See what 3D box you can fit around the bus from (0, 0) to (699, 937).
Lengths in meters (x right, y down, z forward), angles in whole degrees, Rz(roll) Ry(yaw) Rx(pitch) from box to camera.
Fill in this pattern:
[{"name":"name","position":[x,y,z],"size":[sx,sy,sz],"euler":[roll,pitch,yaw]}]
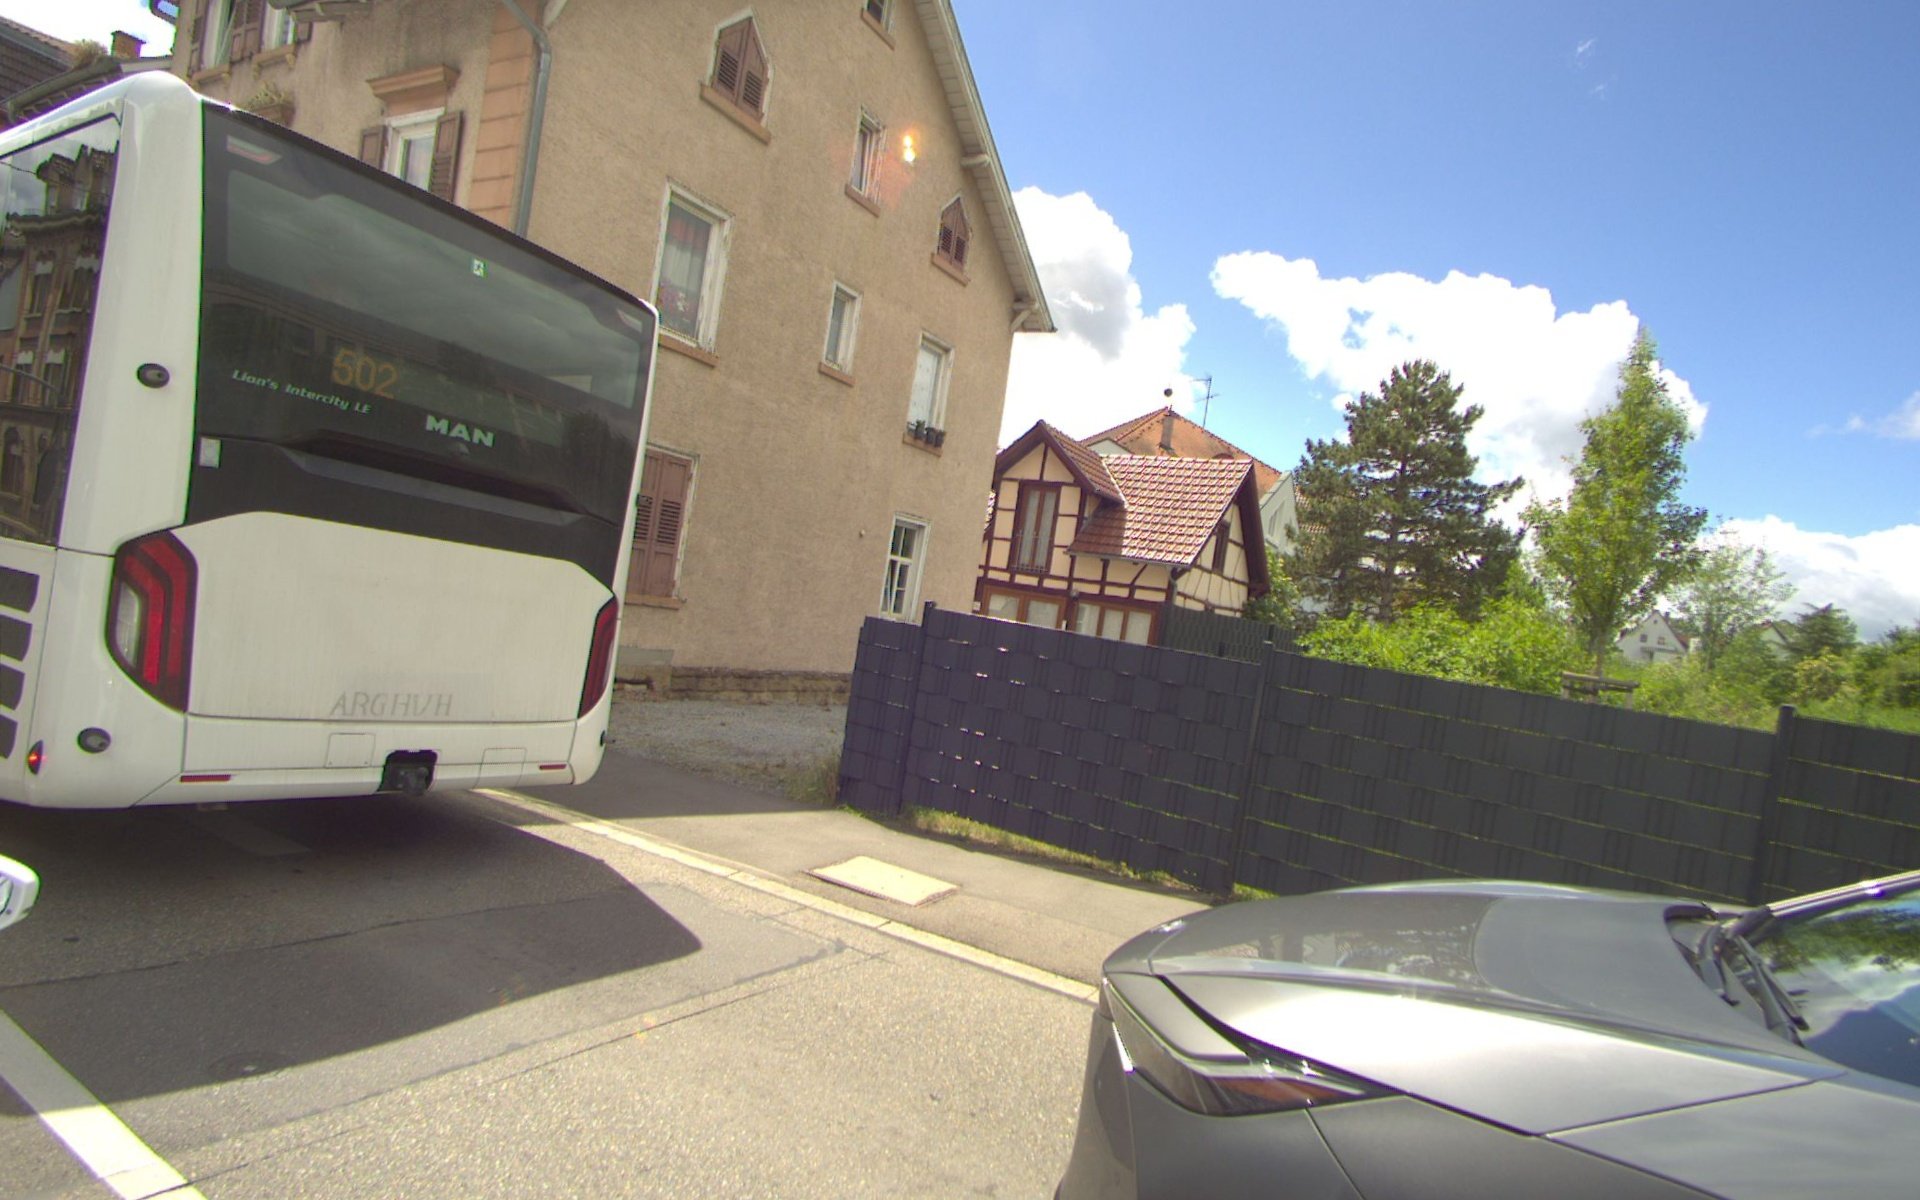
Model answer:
[{"name":"bus","position":[-7.483,-0.949,7.722],"size":[12.256,3.194,2.676],"euler":[7,0,32]}]

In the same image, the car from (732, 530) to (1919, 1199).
[{"name":"car","position":[2.066,1.029,1.486],"size":[4.605,1.631,1.924],"euler":[7,-2,32]}]
